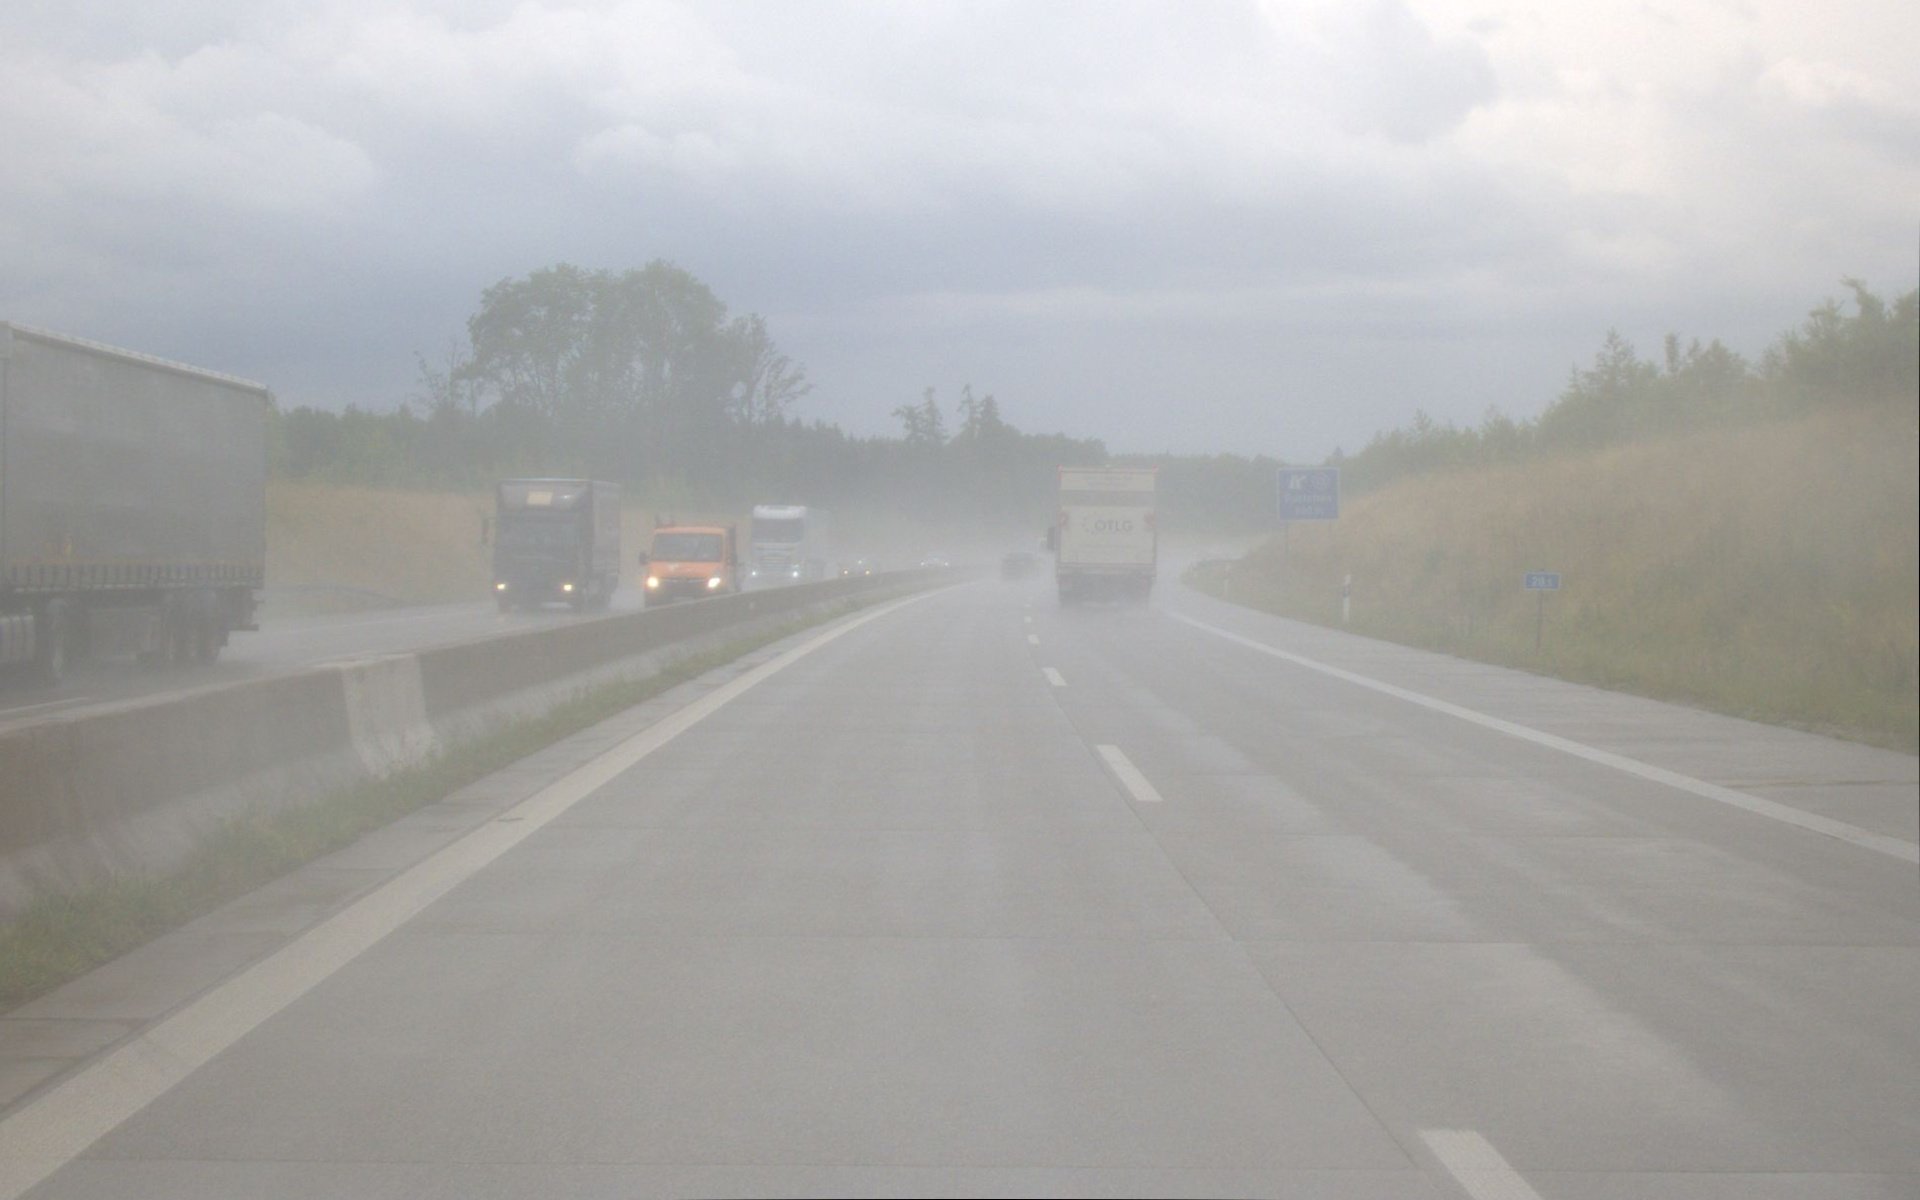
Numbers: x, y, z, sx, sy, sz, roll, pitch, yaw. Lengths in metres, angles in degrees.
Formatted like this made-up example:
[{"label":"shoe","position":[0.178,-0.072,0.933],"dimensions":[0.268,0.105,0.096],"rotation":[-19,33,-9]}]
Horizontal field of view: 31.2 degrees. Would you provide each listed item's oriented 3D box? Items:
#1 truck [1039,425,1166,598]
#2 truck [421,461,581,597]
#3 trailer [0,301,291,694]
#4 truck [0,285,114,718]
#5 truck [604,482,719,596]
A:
[{"label":"truck","position":[3.824,-2.401,92.343],"dimensions":[3.244,4.421,8.246],"rotation":[0,2,2]},{"label":"truck","position":[-12.323,-1.912,93.078],"dimensions":[3.168,3.521,8.365],"rotation":[0,1,0]},{"label":"trailer","position":[-11.384,-1.282,45.188],"dimensions":[2.847,4.505,11.339],"rotation":[1,1,0]},{"label":"truck","position":[-11.395,-1.061,37.107],"dimensions":[2.821,4.505,6.625],"rotation":[1,1,0]},{"label":"truck","position":[-7.486,-1.547,86.826],"dimensions":[2.332,2.772,6.161],"rotation":[0,1,0]}]
